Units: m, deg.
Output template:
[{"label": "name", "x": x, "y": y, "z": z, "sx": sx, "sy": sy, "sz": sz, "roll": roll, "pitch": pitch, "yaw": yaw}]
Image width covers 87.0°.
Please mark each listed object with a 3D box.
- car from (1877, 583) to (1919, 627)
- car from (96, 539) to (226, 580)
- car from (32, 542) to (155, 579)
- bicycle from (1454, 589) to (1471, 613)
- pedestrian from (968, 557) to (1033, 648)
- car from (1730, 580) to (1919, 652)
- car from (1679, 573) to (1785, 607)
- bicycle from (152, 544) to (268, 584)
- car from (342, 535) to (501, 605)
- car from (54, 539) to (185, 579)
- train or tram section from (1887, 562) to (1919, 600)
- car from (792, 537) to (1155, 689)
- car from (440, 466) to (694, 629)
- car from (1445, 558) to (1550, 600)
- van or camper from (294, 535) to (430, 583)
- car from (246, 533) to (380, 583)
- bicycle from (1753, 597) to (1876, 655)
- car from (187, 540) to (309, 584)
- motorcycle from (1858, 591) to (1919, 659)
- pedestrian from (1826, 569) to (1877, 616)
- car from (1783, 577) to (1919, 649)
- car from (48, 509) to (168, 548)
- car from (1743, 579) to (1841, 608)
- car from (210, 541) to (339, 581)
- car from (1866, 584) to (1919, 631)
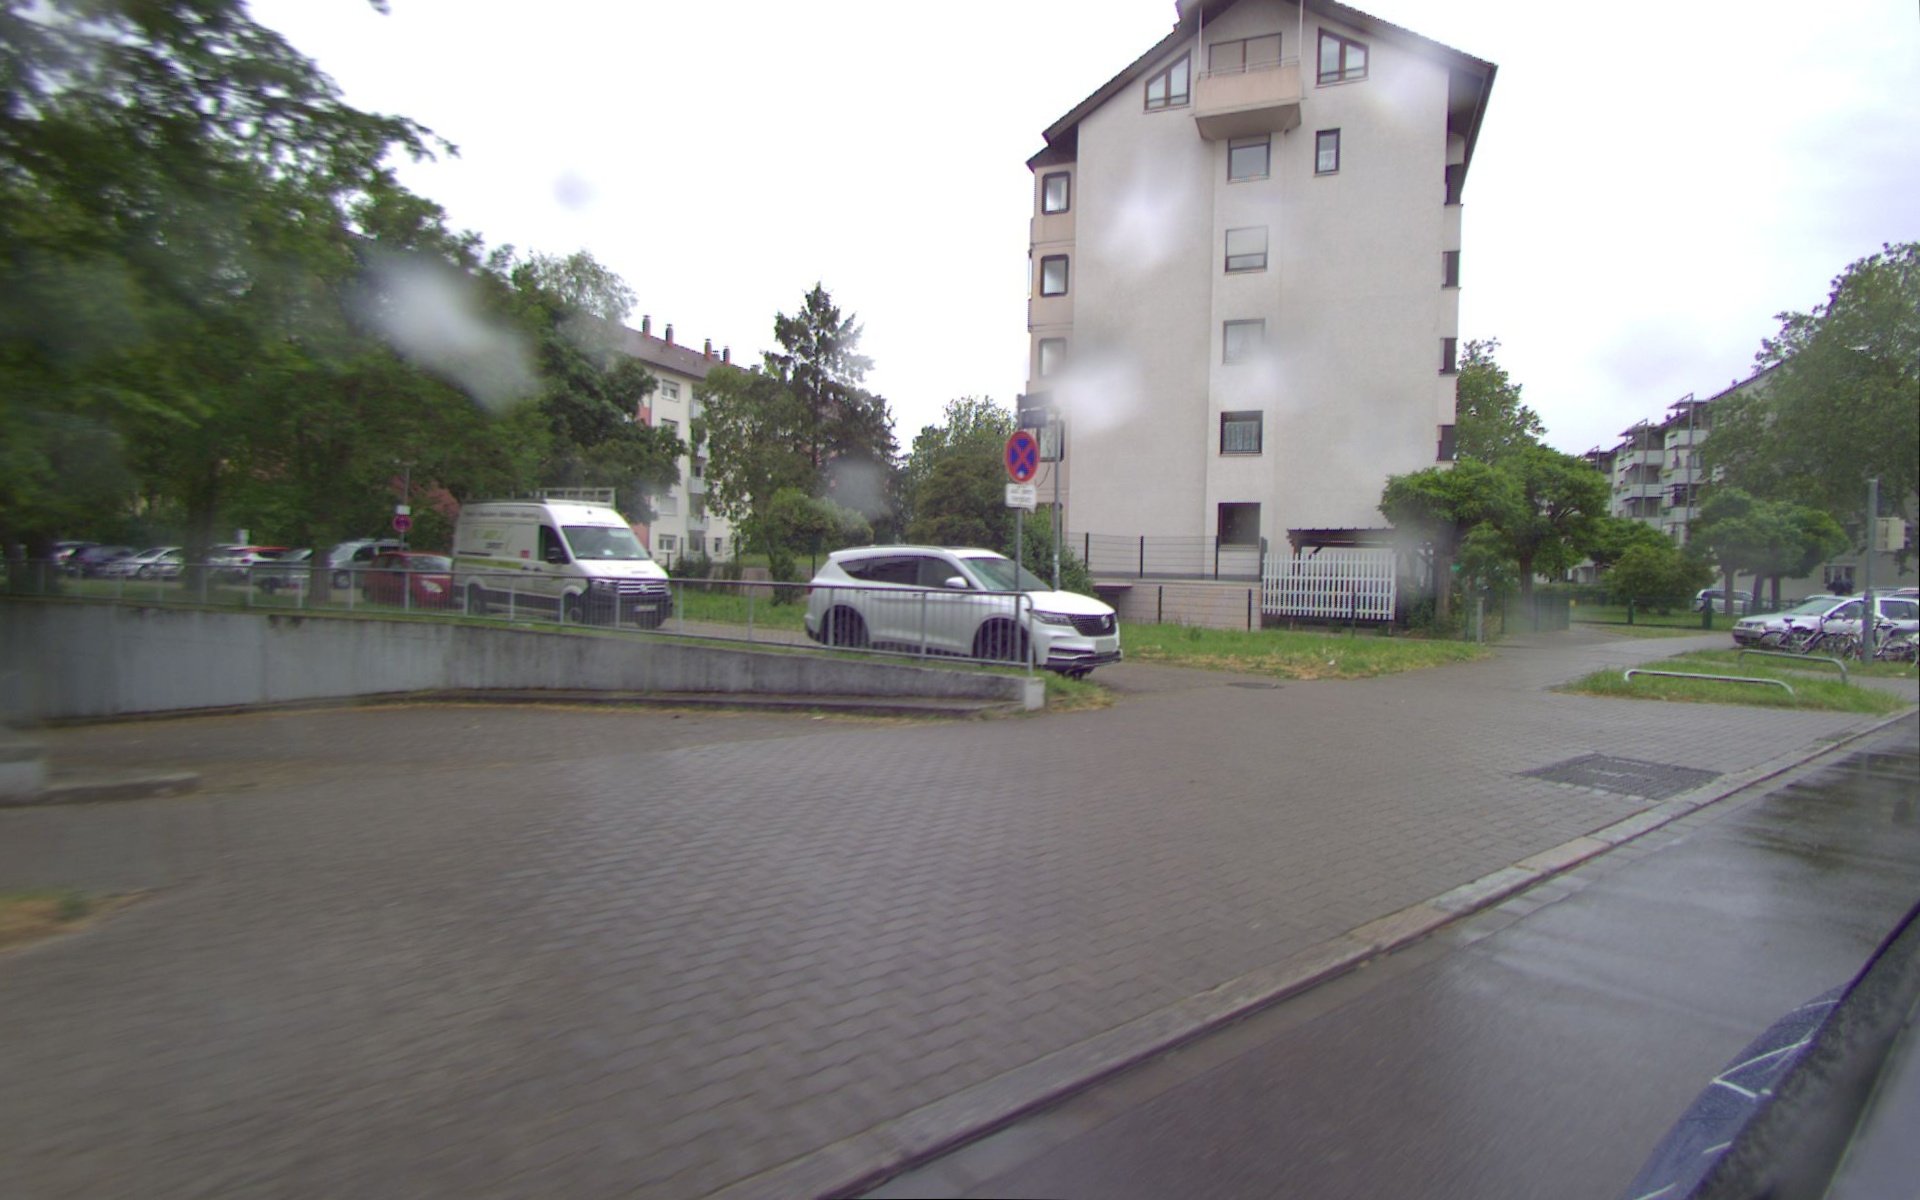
[{"label": "car", "x": 37.148, "y": 0.256, "z": 37.706, "sx": 3.943, "sy": 1.526, "sz": 1.777, "roll": 2, "pitch": 4, "yaw": 15}, {"label": "car", "x": -35.514, "y": -1.774, "z": 45.104, "sx": 1.863, "sy": 1.699, "sz": 4.216, "roll": 1, "pitch": 1, "yaw": 24}, {"label": "car", "x": -40.319, "y": -1.798, "z": 47.181, "sx": 1.962, "sy": 1.589, "sz": 3.957, "roll": -1, "pitch": 0, "yaw": 31}, {"label": "bicycle", "x": 19.360, "y": 0.018, "z": 39.002, "sx": 0.486, "sy": 0.858, "sz": 1.559, "roll": 2, "pitch": 2, "yaw": 24}, {"label": "pedestrian", "x": 0.725, "y": 0.022, "z": 18.293, "sx": 0.836, "sy": 1.590, "sz": 0.802, "roll": 2, "pitch": 2, "yaw": 41}, {"label": "car", "x": 20.639, "y": 0.355, "z": 23.384, "sx": 4.066, "sy": 1.440, "sz": 1.731, "roll": 3, "pitch": 2, "yaw": 15}, {"label": "car", "x": 42.672, "y": -0.569, "z": 56.023, "sx": 1.837, "sy": 1.701, "sz": 4.306, "roll": 0, "pitch": 3, "yaw": -38}, {"label": "bicycle", "x": -32.678, "y": -1.544, "z": 44.201, "sx": 1.168, "sy": 1.652, "sz": 3.958, "roll": 1, "pitch": 1, "yaw": 30}, {"label": "car", "x": -13.144, "y": -0.754, "z": 24.605, "sx": 4.397, "sy": 1.545, "sz": 1.880, "roll": 3, "pitch": 2, "yaw": 39}, {"label": "car", "x": -38.139, "y": -1.818, "z": 46.021, "sx": 1.863, "sy": 1.699, "sz": 4.216, "roll": 1, "pitch": 1, "yaw": 24}, {"label": "train or tram section", "x": 85.409, "y": -1.625, "z": 88.632, "sx": 2.708, "sy": 3.380, "sz": 6.395, "roll": 2, "pitch": 2, "yaw": 5}, {"label": "car", "x": 0.065, "y": 0.057, "z": 14.023, "sx": 4.791, "sy": 1.767, "sz": 1.974, "roll": 2, "pitch": 2, "yaw": 37}, {"label": "car", "x": -8.410, "y": -1.084, "z": 21.339, "sx": 6.041, "sy": 3.000, "sz": 2.102, "roll": 2, "pitch": 2, "yaw": 37}, {"label": "car", "x": 37.645, "y": -1.517, "z": 71.102, "sx": 2.147, "sy": 2.813, "sz": 6.137, "roll": 0, "pitch": 2, "yaw": -37}, {"label": "van or camper", "x": -23.502, "y": -1.588, "z": 39.946, "sx": 1.886, "sy": 1.793, "sz": 4.383, "roll": 2, "pitch": 2, "yaw": 23}, {"label": "car", "x": -25.800, "y": -1.635, "z": 40.530, "sx": 1.863, "sy": 1.801, "sz": 4.216, "roll": 0, "pitch": 0, "yaw": 24}, {"label": "bicycle", "x": 18.038, "y": 0.536, "z": 21.386, "sx": 1.922, "sy": 1.115, "sz": 0.628, "roll": 2, "pitch": 2, "yaw": 5}, {"label": "car", "x": -30.454, "y": -1.583, "z": 43.382, "sx": 1.708, "sy": 1.744, "sz": 3.957, "roll": -1, "pitch": 0, "yaw": 30}, {"label": "motorcycle", "x": 19.966, "y": 0.525, "z": 21.034, "sx": 1.754, "sy": 1.353, "sz": 0.686, "roll": 3, "pitch": 2, "yaw": 15}, {"label": "pedestrian", "x": 35.833, "y": -0.307, "z": 40.671, "sx": 1.405, "sy": 1.836, "sz": 1.104, "roll": 0, "pitch": 1, "yaw": -30}, {"label": "car", "x": 23.660, "y": 0.336, "z": 25.312, "sx": 4.293, "sy": 1.671, "sz": 1.847, "roll": 2, "pitch": 2, "yaw": 18}, {"label": "car", "x": -42.525, "y": -3.526, "z": 50.600, "sx": 1.863, "sy": 1.699, "sz": 4.216, "roll": 1, "pitch": 1, "yaw": 24}, {"label": "car", "x": 46.473, "y": -0.375, "z": 56.648, "sx": 4.098, "sy": 1.528, "sz": 1.830, "roll": 2, "pitch": 1, "yaw": 38}, {"label": "car", "x": -28.152, "y": -1.559, "z": 41.680, "sx": 1.983, "sy": 1.472, "sz": 3.957, "roll": 0, "pitch": 0, "yaw": 31}, {"label": "car", "x": 34.728, "y": 0.307, "z": 35.509, "sx": 3.938, "sy": 1.526, "sz": 1.701, "roll": 2, "pitch": 4, "yaw": 12}]
